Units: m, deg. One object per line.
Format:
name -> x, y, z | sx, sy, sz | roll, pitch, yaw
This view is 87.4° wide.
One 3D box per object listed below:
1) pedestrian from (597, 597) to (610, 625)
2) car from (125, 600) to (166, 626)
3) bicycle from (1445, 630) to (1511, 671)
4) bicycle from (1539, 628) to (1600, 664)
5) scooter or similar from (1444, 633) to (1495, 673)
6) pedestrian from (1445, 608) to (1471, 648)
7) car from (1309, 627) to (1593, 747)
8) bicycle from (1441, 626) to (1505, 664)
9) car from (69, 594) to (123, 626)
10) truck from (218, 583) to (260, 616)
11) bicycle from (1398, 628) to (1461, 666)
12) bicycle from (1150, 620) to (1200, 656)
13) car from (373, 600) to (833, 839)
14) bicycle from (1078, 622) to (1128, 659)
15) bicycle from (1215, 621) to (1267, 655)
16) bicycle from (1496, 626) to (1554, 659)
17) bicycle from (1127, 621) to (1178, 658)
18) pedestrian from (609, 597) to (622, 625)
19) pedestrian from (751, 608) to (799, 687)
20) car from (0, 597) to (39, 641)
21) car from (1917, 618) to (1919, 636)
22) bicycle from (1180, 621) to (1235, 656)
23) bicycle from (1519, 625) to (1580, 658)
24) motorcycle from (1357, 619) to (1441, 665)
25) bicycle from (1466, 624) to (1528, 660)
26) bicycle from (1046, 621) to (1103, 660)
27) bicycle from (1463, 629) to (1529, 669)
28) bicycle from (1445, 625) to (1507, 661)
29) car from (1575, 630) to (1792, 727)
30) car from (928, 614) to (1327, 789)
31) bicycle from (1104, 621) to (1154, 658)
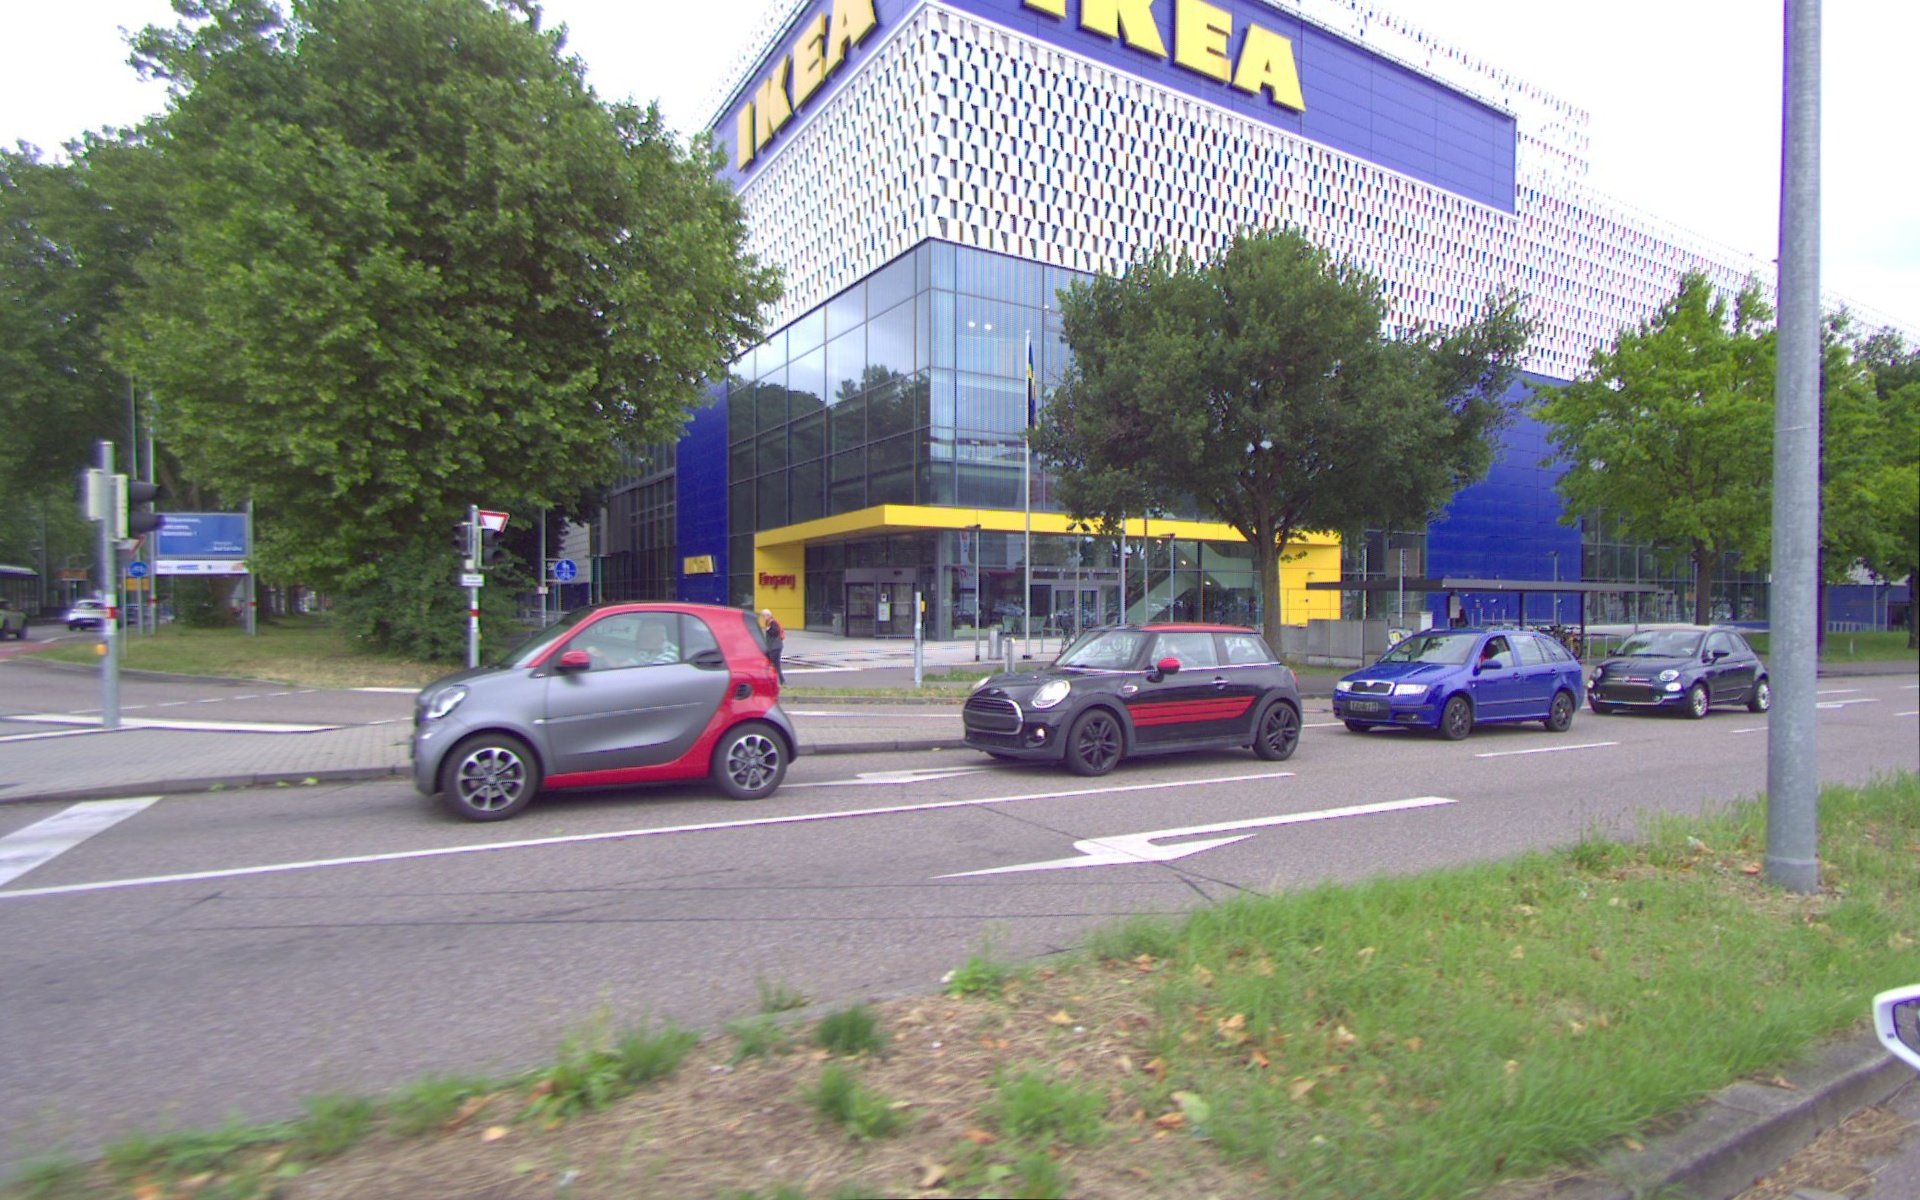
pedestrian -> -26.003, 0.796, 73.205 | 0.733, 2.041, 0.663 | -2, 2, -31
car -> -53.792, 0.820, 66.396 | 1.616, 1.537, 3.393 | 3, -1, -32
bicycle -> 16.966, 1.647, 32.945 | 0.586, 1.172, 1.885 | 1, 2, -29
bicycle -> 22.174, 1.661, 36.582 | 0.584, 1.172, 2.015 | 1, 2, -15
scooter or similar -> 15.754, 1.624, 31.077 | 1.322, 1.164, 0.424 | 2, 2, 2
pedestrian -> 22.095, 1.226, 44.560 | 0.799, 1.769, 0.674 | 0, 1, -30
car -> 6.885, 1.133, 13.993 | 4.096, 1.463, 1.595 | 2, -2, -31
bicycle -> 18.178, 1.577, 35.661 | 0.586, 1.172, 2.006 | 1, 2, -29
car -> -46.905, 0.518, 54.611 | 1.780, 1.606, 4.101 | 3, -1, -36
truck -> -86.624, -0.015, 120.807 | 3.226, 3.711, 9.812 | 3, -2, -31
bicycle -> 16.352, 1.616, 35.017 | 0.586, 1.172, 2.006 | 1, 2, -29
bicycle -> 7.917, 1.389, 37.043 | 0.587, 1.172, 2.005 | 1, 2, -31
car -> -2.778, 0.793, 7.926 | 3.173, 1.523, 1.594 | 1, -1, -32
bicycle -> 5.035, 1.423, 35.496 | 0.587, 1.172, 2.005 | 1, 2, -31
bicycle -> 10.846, 1.466, 38.828 | 0.588, 1.172, 2.002 | 0, 2, -35
bicycle -> 21.221, 1.584, 37.762 | 0.586, 1.096, 1.801 | 1, 2, -29
bicycle -> 6.973, 1.418, 36.505 | 0.587, 1.172, 2.005 | 1, 2, -31
pedestrian -> -25.246, 0.776, 73.655 | 0.733, 2.041, 0.663 | -2, 2, -31
pedestrian -> -4.010, 1.030, 21.787 | 0.801, 1.664, 0.629 | 2, -1, -33
car -> -37.805, 0.696, 39.211 | 1.872, 1.606, 4.373 | 2, -1, -31
car -> 116.923, 3.200, 118.747 | 1.860, 1.990, 5.103 | -5, 2, -32
bicycle -> 9.323, 1.451, 37.825 | 0.589, 1.172, 1.997 | 0, 2, -42
bicycle -> 22.952, 1.600, 39.140 | 0.586, 1.137, 2.008 | 1, 2, -27
motorcycle -> 14.958, 1.416, 34.267 | 0.794, 1.374, 2.469 | 0, 2, -41
bicycle -> 19.945, 1.544, 37.377 | 0.586, 1.172, 2.006 | 1, 2, -29
bicycle -> 3.944, 1.379, 34.629 | 1.994, 1.172, 0.590 | 3, 2, 45
bicycle -> 17.871, 1.623, 33.514 | 0.586, 1.172, 1.885 | 1, 2, -29
bicycle -> 18.845, 1.555, 36.710 | 0.586, 1.172, 2.006 | 1, 2, -29
car -> 12.566, 1.283, 17.403 | 3.991, 1.517, 1.595 | 1, -2, -31
car -> 1.816, 0.954, 10.490 | 4.018, 1.522, 1.654 | 2, -2, -31
bicycle -> 6.027, 1.401, 35.959 | 0.587, 1.172, 2.005 | 1, 2, -31
